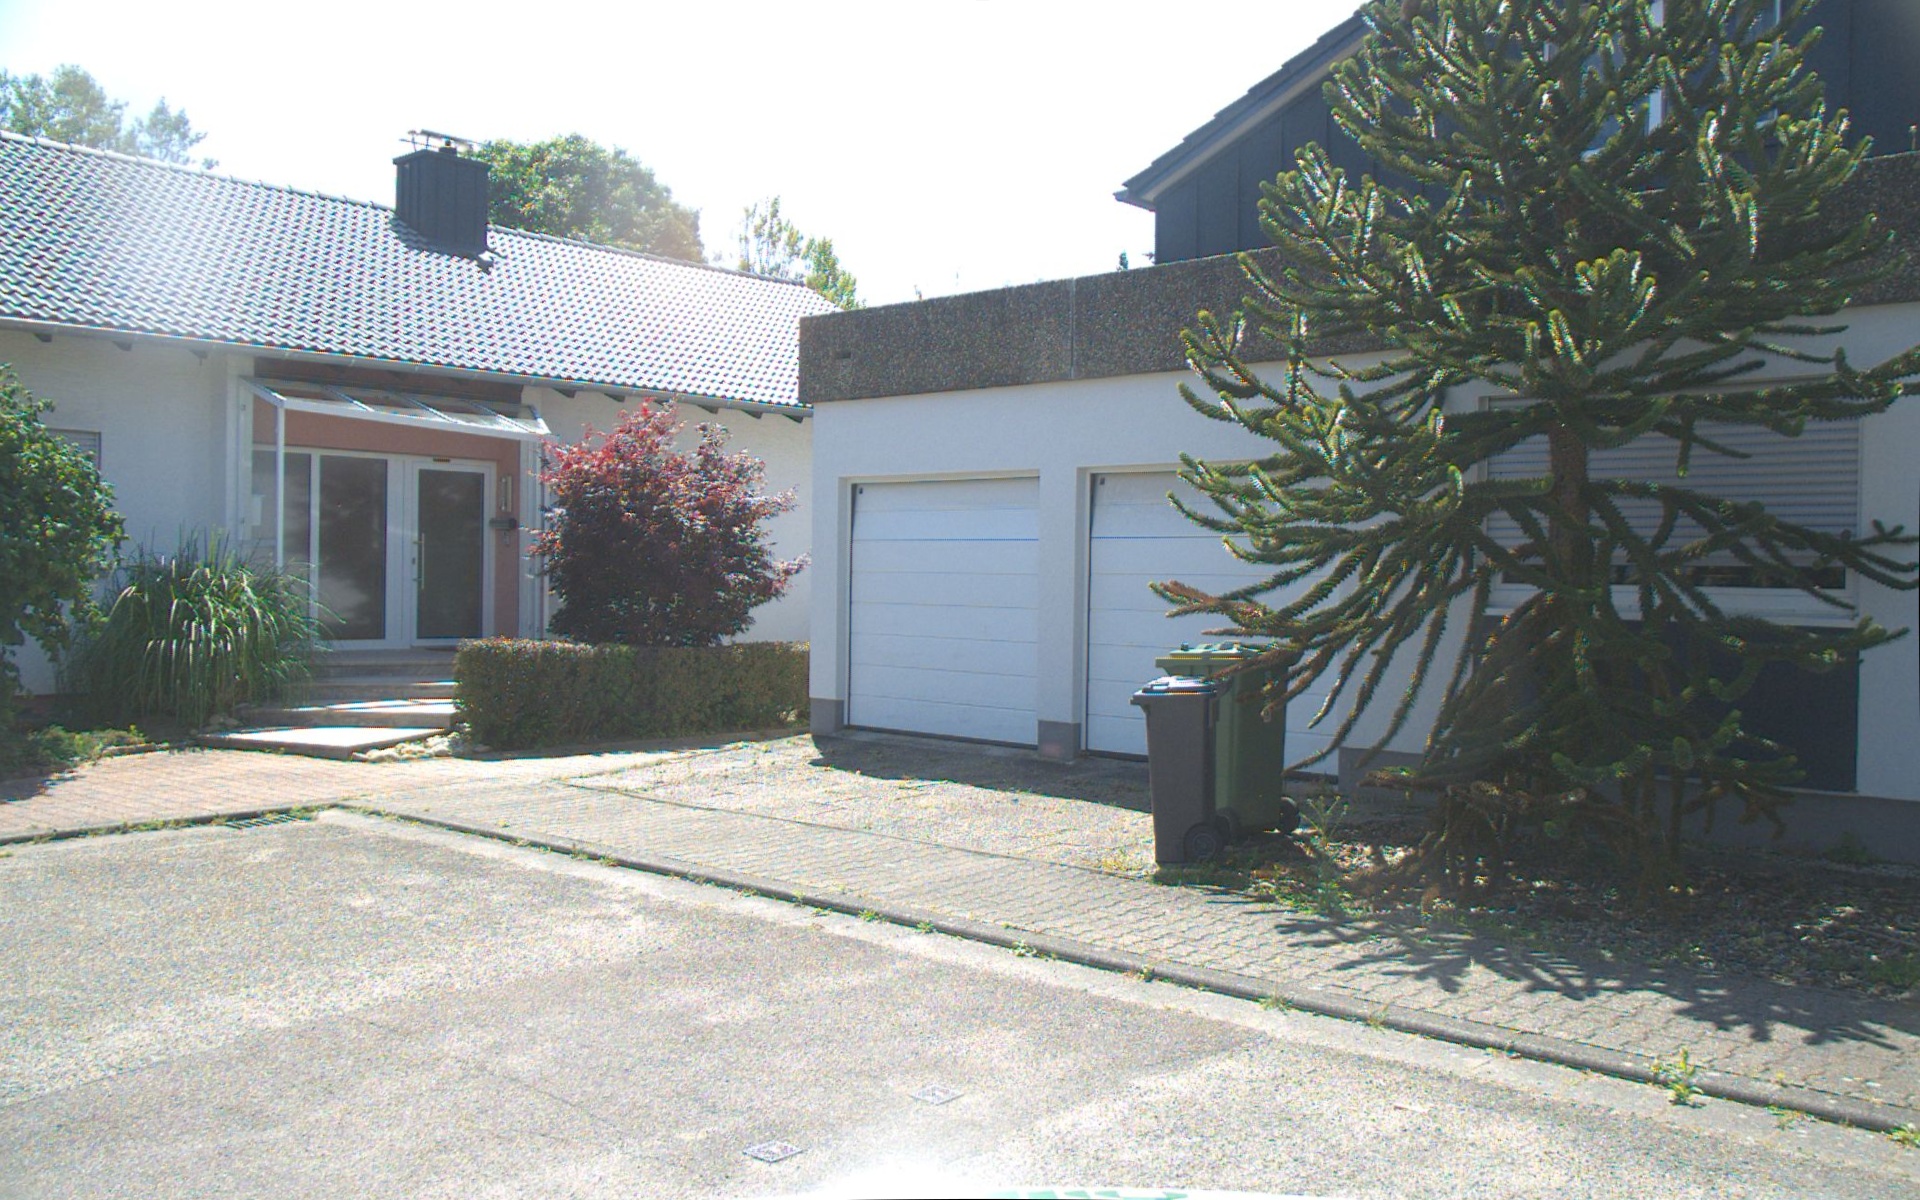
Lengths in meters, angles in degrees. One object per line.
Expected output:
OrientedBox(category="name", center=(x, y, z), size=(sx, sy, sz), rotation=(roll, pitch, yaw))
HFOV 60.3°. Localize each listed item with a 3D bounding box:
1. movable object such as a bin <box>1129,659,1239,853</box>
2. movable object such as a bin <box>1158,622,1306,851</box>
OrientedBox(category="movable object such as a bin", center=(1.186, 0.809, 8.732), size=(0.511, 0.966, 0.389), rotation=(1, 0, 17))
OrientedBox(category="movable object such as a bin", center=(1.550, 0.749, 9.427), size=(0.623, 1.224, 0.548), rotation=(1, 0, 43))
